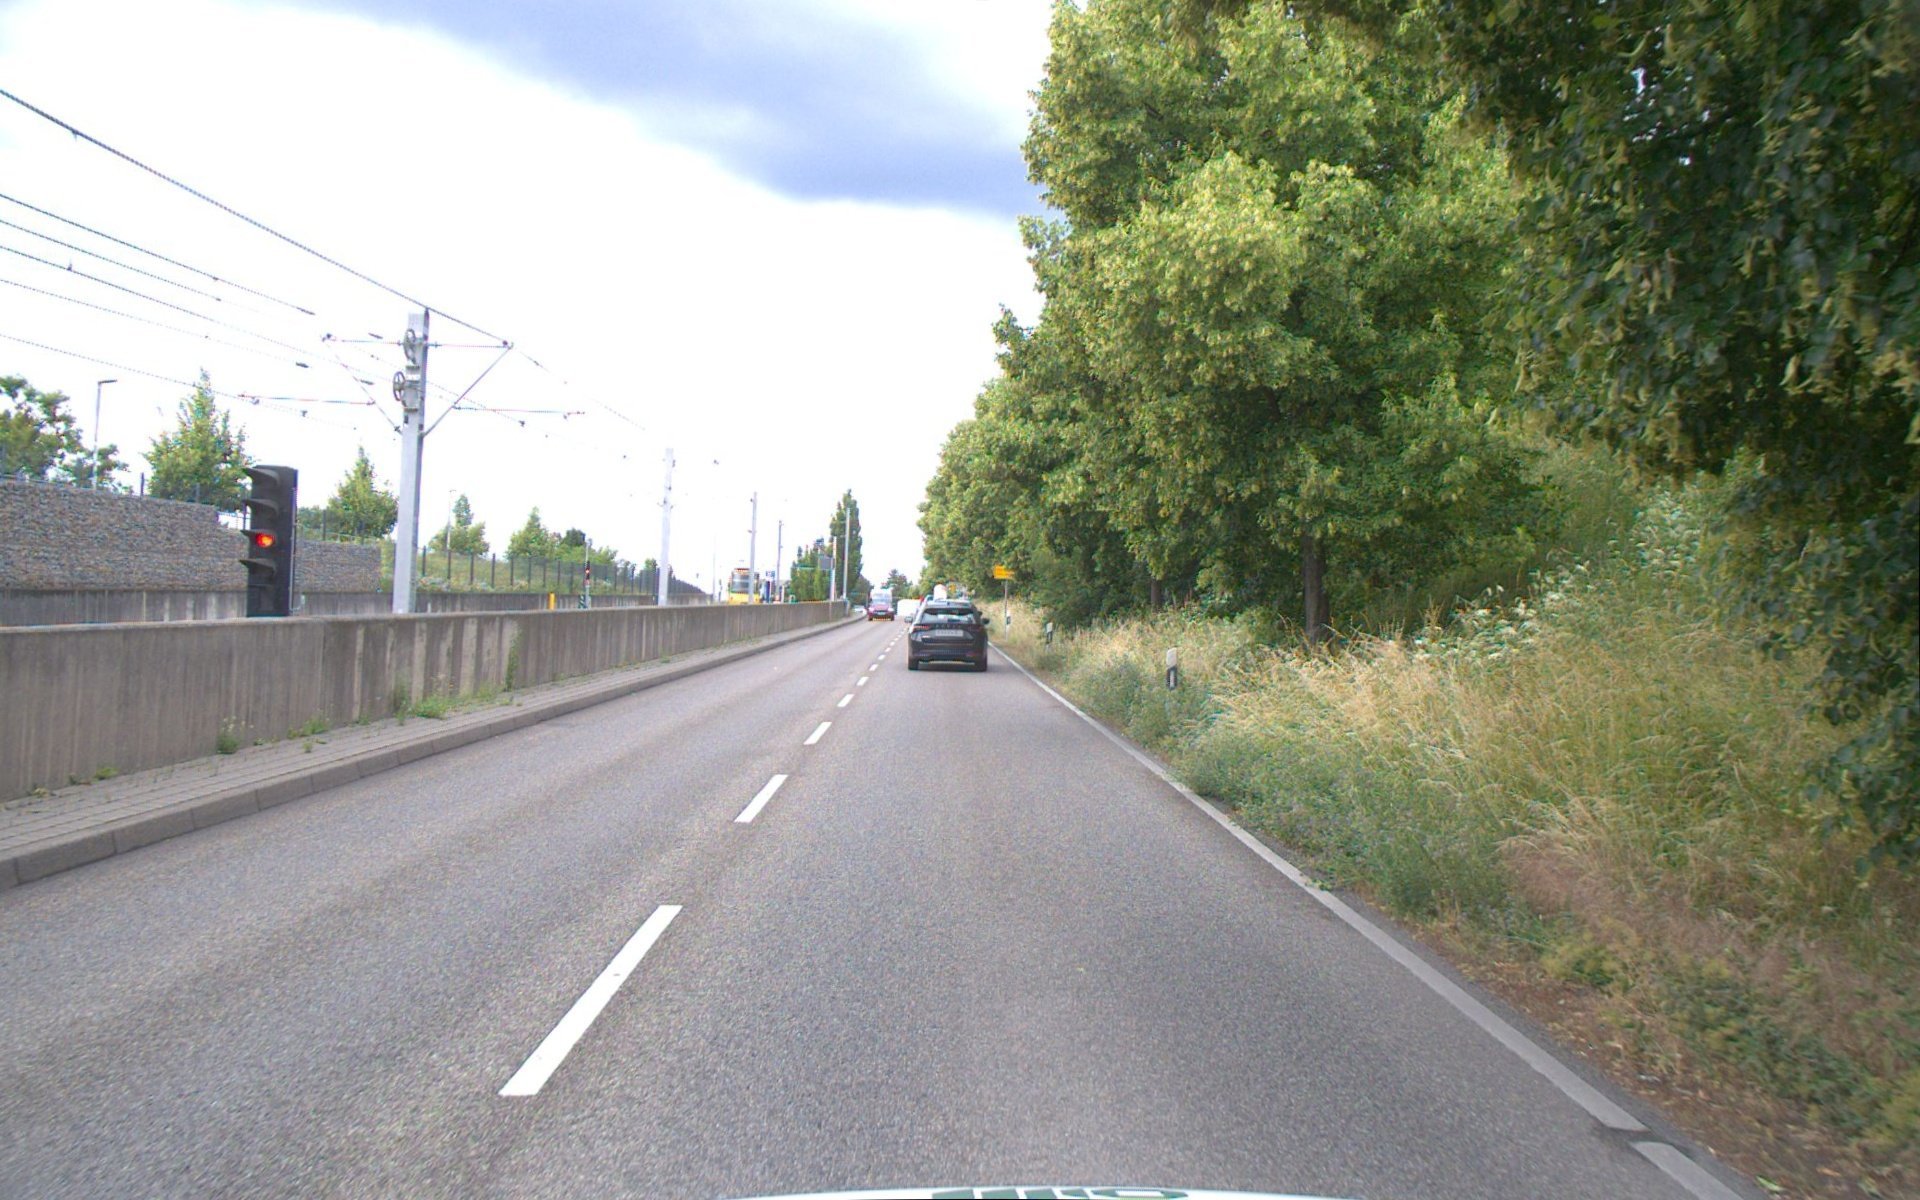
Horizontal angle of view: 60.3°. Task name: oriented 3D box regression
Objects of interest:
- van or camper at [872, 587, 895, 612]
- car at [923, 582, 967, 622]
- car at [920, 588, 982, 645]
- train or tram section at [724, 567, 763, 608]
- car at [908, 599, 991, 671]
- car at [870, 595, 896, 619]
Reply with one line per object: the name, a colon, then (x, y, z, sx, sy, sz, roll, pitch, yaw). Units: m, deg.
van or camper: (-7.500, -0.065, 162.393, 2.040, 2.438, 6.135, 1, 0, -1)
car: (-0.693, 0.129, 76.078, 1.953, 1.771, 3.999, 1, -1, -1)
car: (-0.319, 0.500, 54.080, 1.953, 1.783, 3.999, 0, 0, -1)
train or tram section: (-19.047, -0.974, 144.779, 2.760, 3.172, 18.873, 1, -1, -9)
car: (-0.255, 0.731, 36.695, 1.745, 1.493, 3.999, 0, 0, -1)
car: (-5.090, 0.446, 109.913, 1.629, 1.572, 3.951, 0, 0, -2)
